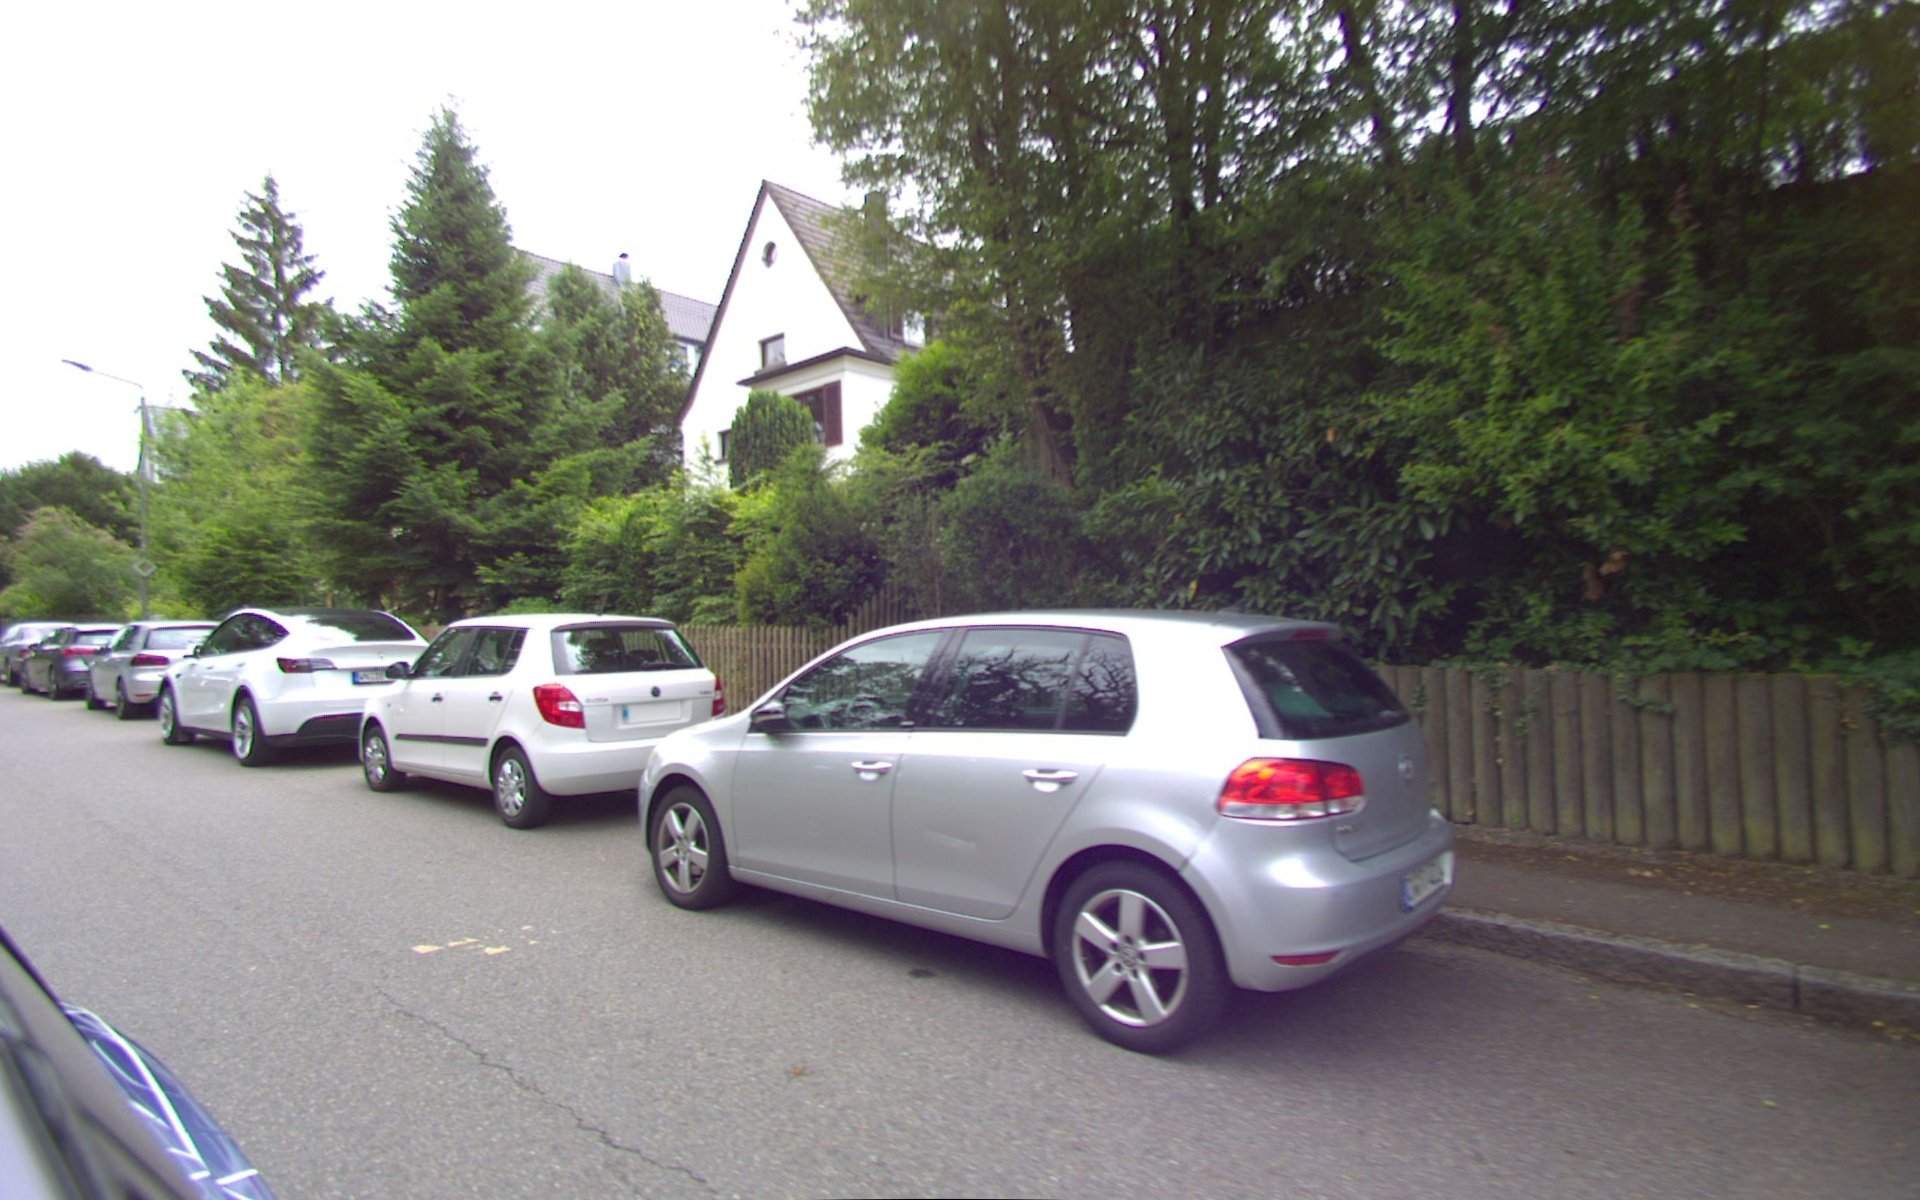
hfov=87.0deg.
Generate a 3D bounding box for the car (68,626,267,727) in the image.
[{"bbox_3d":[-13.030,1.150,16.560,4.114,1.450,1.815,-1,-2,41],"label":"car"}]

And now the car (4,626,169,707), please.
[{"bbox_3d":[-17.478,1.245,20.194,4.257,1.450,1.717,-1,-2,38],"label":"car"}]

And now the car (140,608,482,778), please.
[{"bbox_3d":[-7.546,0.946,11.592,4.598,1.574,1.897,-2,-3,39],"label":"car"}]

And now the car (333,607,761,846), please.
[{"bbox_3d":[-3.518,0.871,8.328,3.814,1.516,1.702,-2,-3,41],"label":"car"}]

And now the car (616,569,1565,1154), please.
[{"bbox_3d":[0.289,0.738,4.607,4.005,1.516,1.702,-1,-3,41],"label":"car"}]

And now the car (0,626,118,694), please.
[{"bbox_3d":[-21.746,1.353,24.018,4.905,1.450,1.830,-1,-2,39],"label":"car"}]
